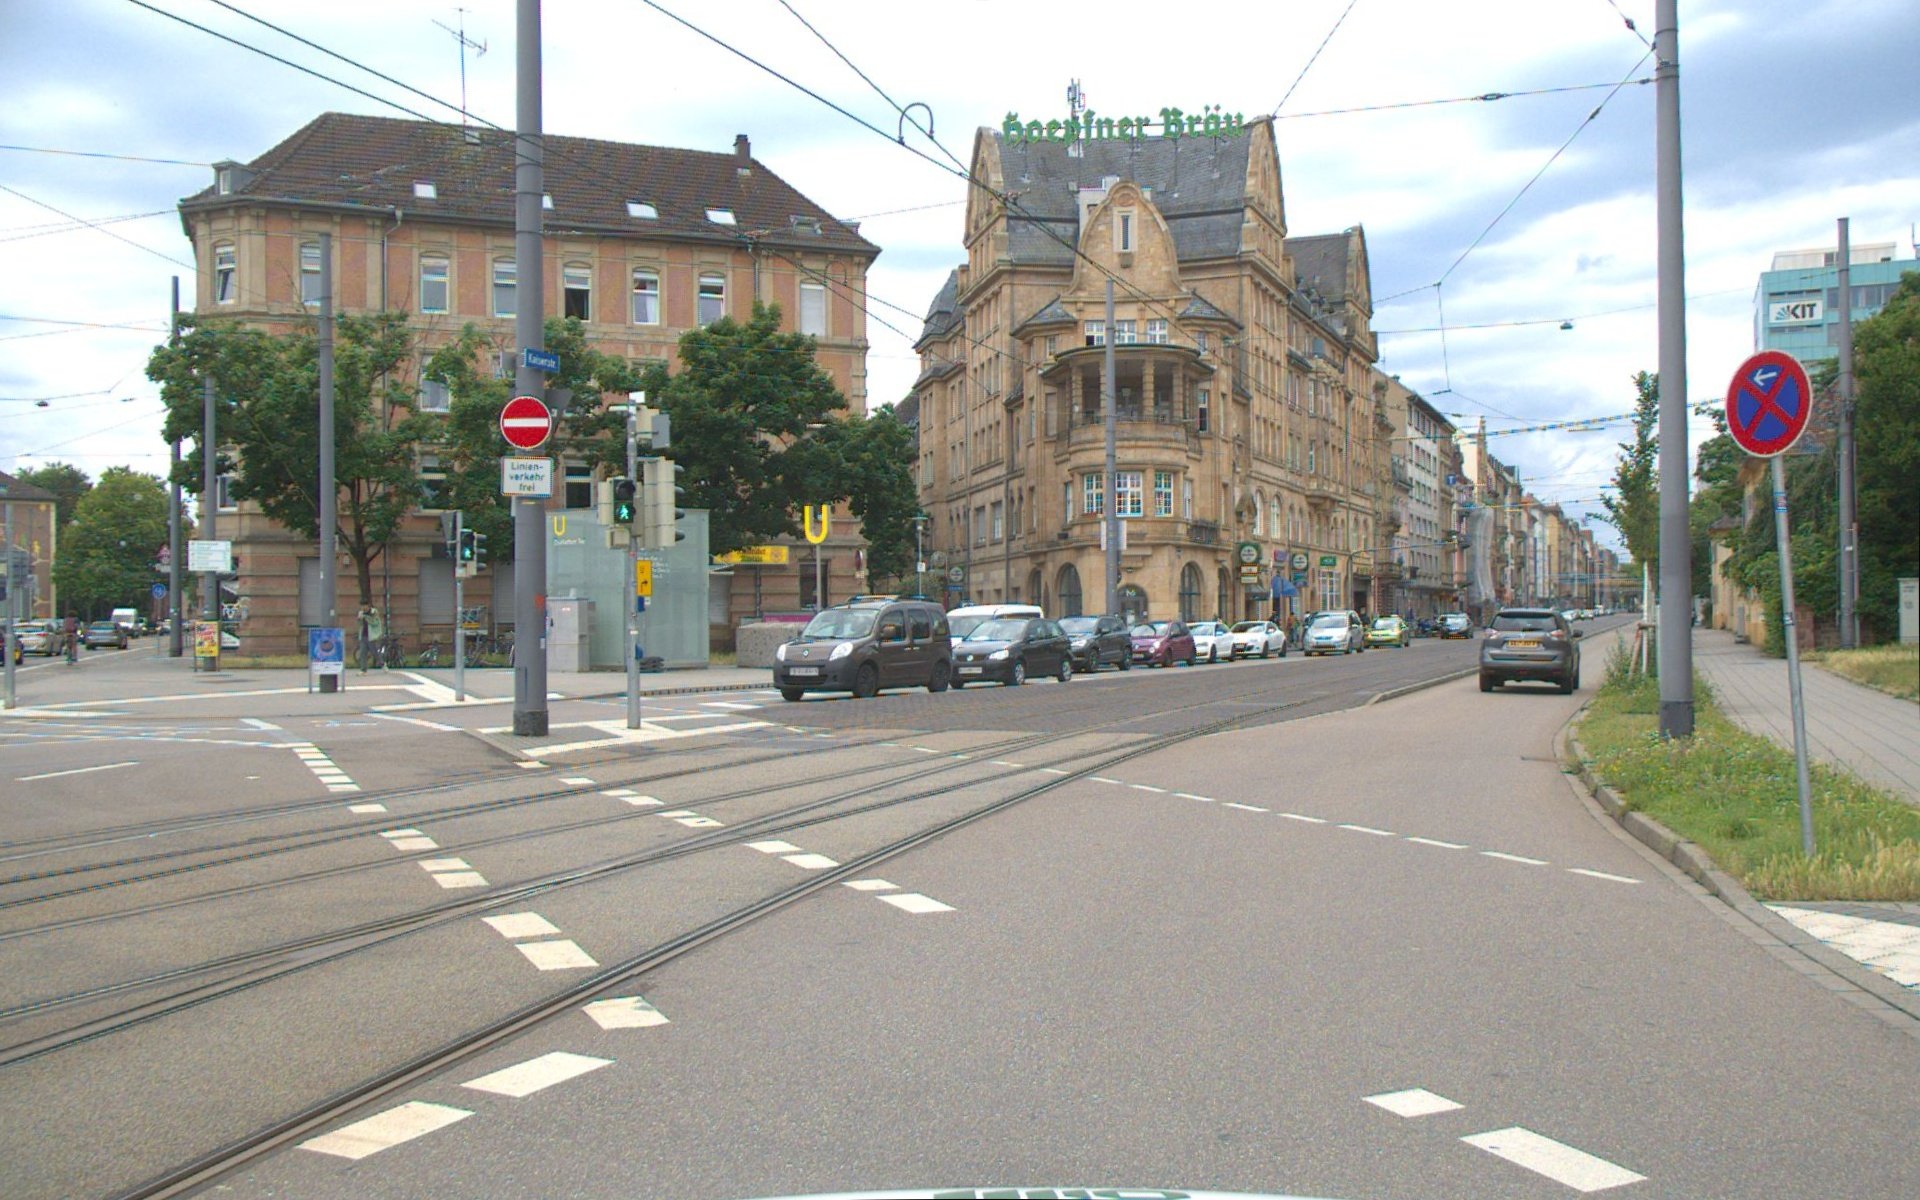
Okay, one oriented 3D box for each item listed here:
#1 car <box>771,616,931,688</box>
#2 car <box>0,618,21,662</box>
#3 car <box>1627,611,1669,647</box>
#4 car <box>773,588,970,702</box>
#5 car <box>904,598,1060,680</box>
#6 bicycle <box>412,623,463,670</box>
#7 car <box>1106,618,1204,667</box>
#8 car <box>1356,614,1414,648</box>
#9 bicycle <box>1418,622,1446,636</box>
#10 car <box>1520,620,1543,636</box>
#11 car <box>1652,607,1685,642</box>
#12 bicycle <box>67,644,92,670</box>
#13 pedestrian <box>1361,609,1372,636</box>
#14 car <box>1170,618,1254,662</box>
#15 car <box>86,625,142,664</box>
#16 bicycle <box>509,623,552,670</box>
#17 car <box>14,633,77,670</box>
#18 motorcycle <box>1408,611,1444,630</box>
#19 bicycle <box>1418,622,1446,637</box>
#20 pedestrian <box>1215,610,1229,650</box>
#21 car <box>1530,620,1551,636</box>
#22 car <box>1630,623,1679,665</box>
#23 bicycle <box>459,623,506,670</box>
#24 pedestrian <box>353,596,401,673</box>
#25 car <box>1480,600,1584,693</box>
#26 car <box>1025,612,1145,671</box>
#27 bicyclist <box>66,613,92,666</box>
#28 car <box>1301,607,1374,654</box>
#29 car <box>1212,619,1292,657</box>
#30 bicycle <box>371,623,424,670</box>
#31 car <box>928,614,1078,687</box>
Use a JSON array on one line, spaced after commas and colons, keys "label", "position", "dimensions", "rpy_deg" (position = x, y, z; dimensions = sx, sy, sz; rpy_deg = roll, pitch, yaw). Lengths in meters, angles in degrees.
[{"label": "car", "position": [-2.294, 1.091, 35.753], "dimensions": [1.656, 1.467, 3.995], "rpy_deg": [-1, -1, 27]}, {"label": "car", "position": [-32.915, 1.330, 55.263], "dimensions": [1.964, 1.445, 3.977], "rpy_deg": [0, -1, -20]}, {"label": "car", "position": [32.605, 1.373, 78.395], "dimensions": [1.719, 1.602, 3.929], "rpy_deg": [-3, -2, 23]}, {"label": "car", "position": [-1.532, 0.801, 30.480], "dimensions": [1.656, 1.934, 4.381], "rpy_deg": [-1, -1, 27]}, {"label": "car", "position": [0.641, 0.951, 41.999], "dimensions": [1.827, 1.949, 5.093], "rpy_deg": [-1, -1, 28]}, {"label": "bicycle", "position": [-15.689, 1.393, 49.768], "dimensions": [0.940, 1.378, 3.114], "rpy_deg": [0, -1, -8]}, {"label": "car", "position": [6.219, 1.318, 52.346], "dimensions": [1.827, 1.424, 3.890], "rpy_deg": [-3, -2, 27]}, {"label": "car", "position": [20.596, 1.493, 80.078], "dimensions": [1.861, 1.537, 4.424], "rpy_deg": [-2, -1, 26]}, {"label": "bicycle", "position": [33.544, 2.064, 117.539], "dimensions": [1.924, 1.019, 0.463], "rpy_deg": [-1, -1, 16]}, {"label": "car", "position": [53.908, 2.608, 156.058], "dimensions": [1.723, 1.475, 4.612], "rpy_deg": [-1, -1, 23]}, {"label": "car", "position": [45.759, 1.560, 106.831], "dimensions": [1.814, 2.152, 4.983], "rpy_deg": [-4, -2, 23]}, {"label": "bicycle", "position": [-29.378, 1.900, 55.161], "dimensions": [0.613, 0.807, 1.573], "rpy_deg": [0, -1, -33]}, {"label": "pedestrian", "position": [25.107, 1.377, 102.230], "dimensions": [0.556, 1.626, 0.718], "rpy_deg": [-1, -1, 23]}, {"label": "car", "position": [8.791, 1.371, 57.483], "dimensions": [1.712, 1.404, 4.359], "rpy_deg": [-4, -2, 24]}, {"label": "car", "position": [-45.534, 2.397, 89.075], "dimensions": [1.962, 2.049, 3.981], "rpy_deg": [1, -2, -17]}, {"label": "bicycle", "position": [-13.189, 1.427, 50.853], "dimensions": [0.940, 1.378, 3.114], "rpy_deg": [0, -1, -8]}, {"label": "car", "position": [-39.357, 2.195, 71.260], "dimensions": [1.826, 1.534, 3.974], "rpy_deg": [1, -2, -21]}, {"label": "motorcycle", "position": [32.409, 1.409, 115.015], "dimensions": [2.296, 1.325, 0.880], "rpy_deg": [0, -1, -13]}, {"label": "bicycle", "position": [33.324, 2.071, 116.872], "dimensions": [1.881, 1.019, 0.463], "rpy_deg": [-1, -1, 16]}, {"label": "pedestrian", "position": [11.570, 1.308, 73.057], "dimensions": [0.617, 1.749, 0.533], "rpy_deg": [-1, -1, 9]}, {"label": "car", "position": [61.486, 2.960, 175.083], "dimensions": [1.723, 1.701, 4.612], "rpy_deg": [-1, -1, 23]}, {"label": "car", "position": [26.194, 1.643, 62.414], "dimensions": [1.604, 1.459, 3.929], "rpy_deg": [-3, -2, 23]}, {"label": "bicycle", "position": [-14.449, 1.405, 50.121], "dimensions": [0.940, 1.378, 3.114], "rpy_deg": [0, -1, -8]}, {"label": "pedestrian", "position": [-13.587, 0.801, 38.555], "dimensions": [0.904, 1.758, 0.593], "rpy_deg": [0, -1, -41]}, {"label": "car", "position": [11.936, 0.925, 34.369], "dimensions": [1.714, 1.786, 3.922], "rpy_deg": [1, 0, 24]}, {"label": "car", "position": [3.653, 1.170, 47.571], "dimensions": [1.827, 1.561, 4.296], "rpy_deg": [-3, -2, 28]}, {"label": "bicyclist", "position": [-29.389, 1.317, 55.176], "dimensions": [0.681, 1.738, 0.789], "rpy_deg": [0, -1, -33]}, {"label": "car", "position": [14.893, 1.168, 65.096], "dimensions": [1.826, 1.736, 4.906], "rpy_deg": [-2, -1, 24]}, {"label": "car", "position": [11.132, 1.424, 62.929], "dimensions": [1.889, 1.404, 4.253], "rpy_deg": [-1, -1, 26]}, {"label": "bicycle", "position": [-16.793, 1.382, 49.471], "dimensions": [0.940, 1.378, 3.114], "rpy_deg": [0, -1, -8]}, {"label": "car", "position": [0.989, 1.046, 35.423], "dimensions": [1.656, 1.467, 3.995], "rpy_deg": [-1, -1, 27]}]
